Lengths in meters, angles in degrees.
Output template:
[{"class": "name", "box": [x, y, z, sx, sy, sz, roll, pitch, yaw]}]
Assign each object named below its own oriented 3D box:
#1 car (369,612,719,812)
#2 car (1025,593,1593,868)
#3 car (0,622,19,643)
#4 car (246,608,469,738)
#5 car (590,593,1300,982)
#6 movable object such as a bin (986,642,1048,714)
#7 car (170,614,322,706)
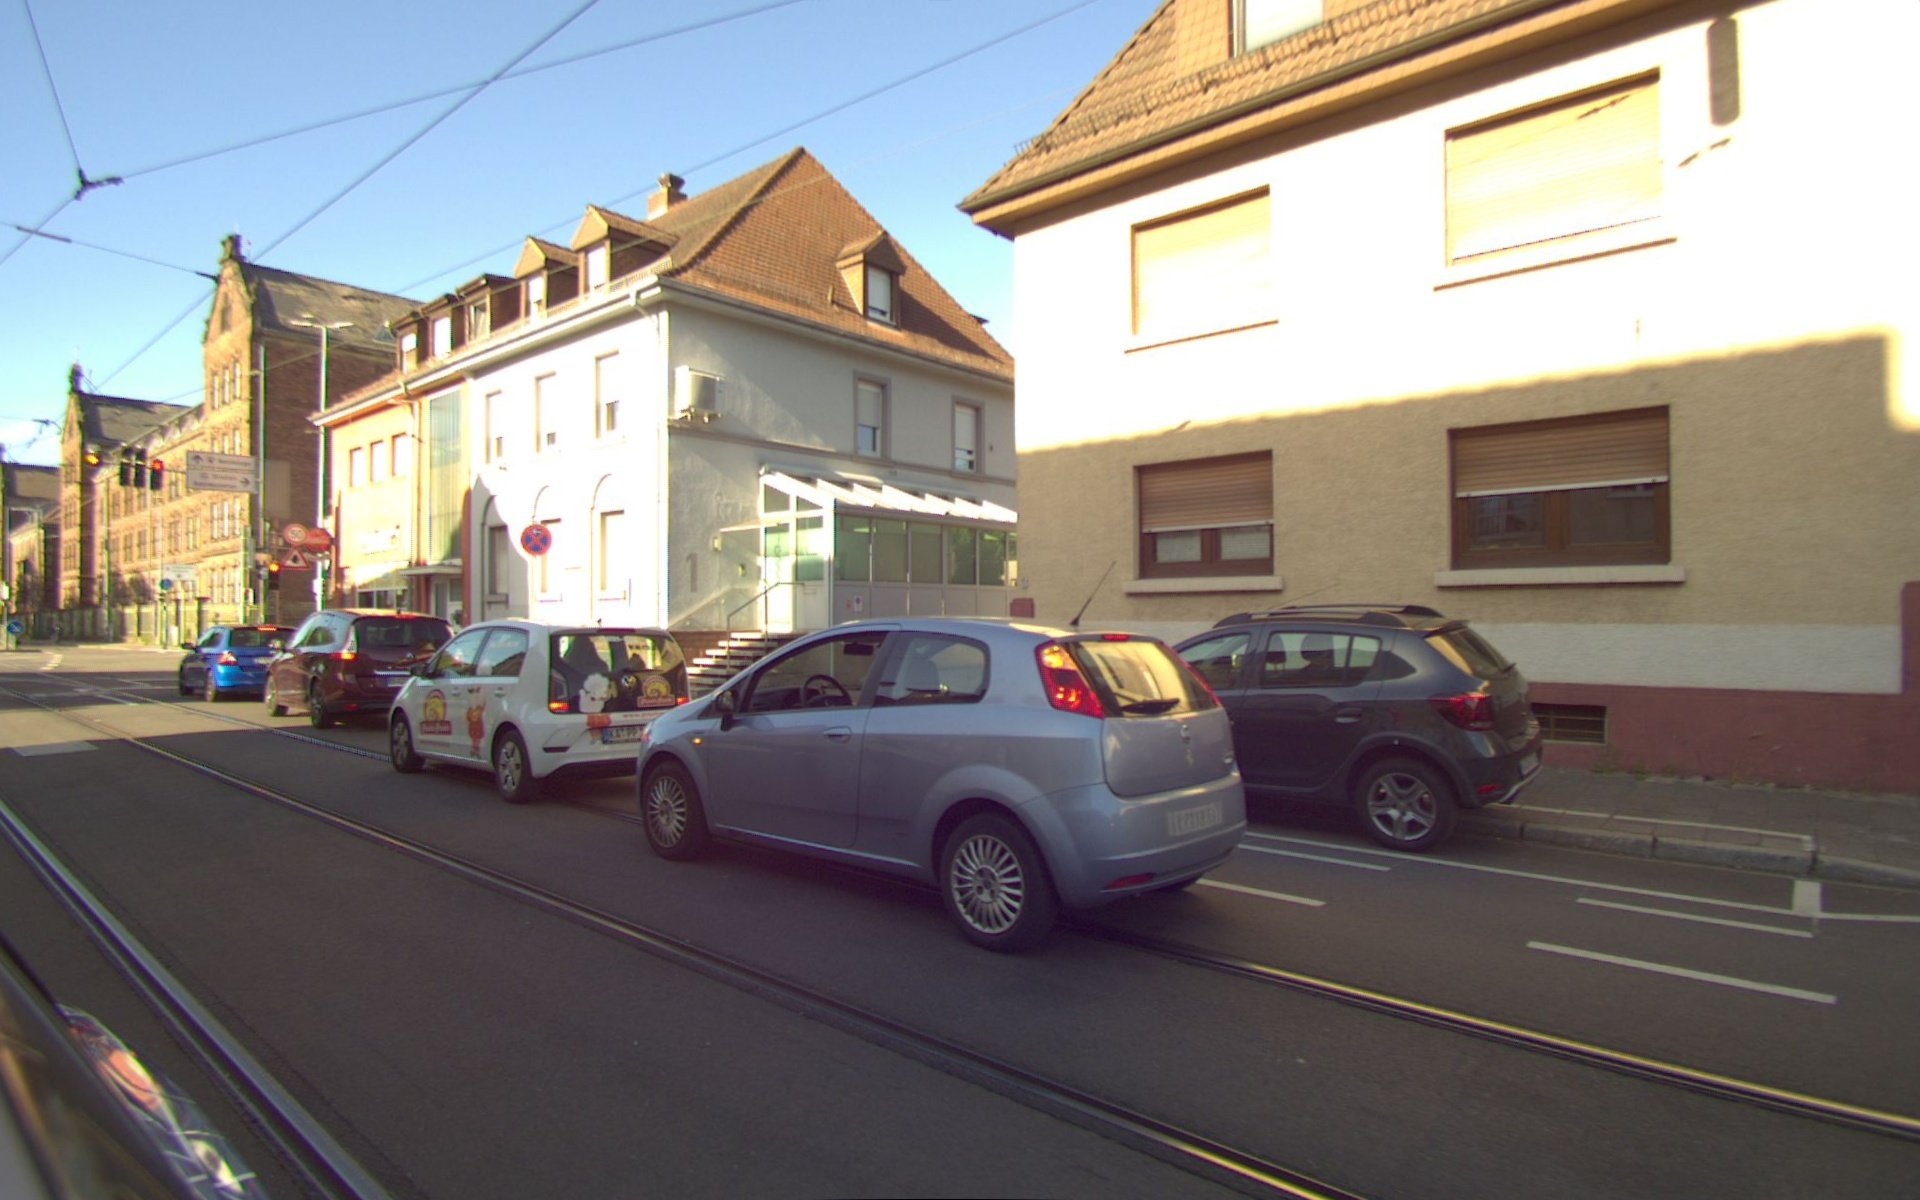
[{"class": "car", "box": [-3.920, 0.877, 9.271, 3.613, 1.472, 1.565, -1, -3, 43]}, {"class": "car", "box": [2.558, 0.830, 7.957, 3.919, 1.640, 1.599, -1, -3, 41]}, {"class": "car", "box": [-69.667, 2.367, 73.422, 4.114, 1.454, 1.718, -2, -2, 42]}, {"class": "car", "box": [-8.966, 0.971, 14.873, 1.718, 1.623, 4.717, 3, -3, -44]}, {"class": "car", "box": [-0.340, 0.764, 5.818, 4.073, 1.472, 1.600, -1, -3, 42]}, {"class": "movable object such as a bin", "box": [0.809, 1.092, 14.369, 0.582, 0.951, 0.651, -1, 1, 41]}, {"class": "car", "box": [-13.773, 1.111, 19.447, 3.930, 1.579, 1.665, -2, -4, 45]}]
